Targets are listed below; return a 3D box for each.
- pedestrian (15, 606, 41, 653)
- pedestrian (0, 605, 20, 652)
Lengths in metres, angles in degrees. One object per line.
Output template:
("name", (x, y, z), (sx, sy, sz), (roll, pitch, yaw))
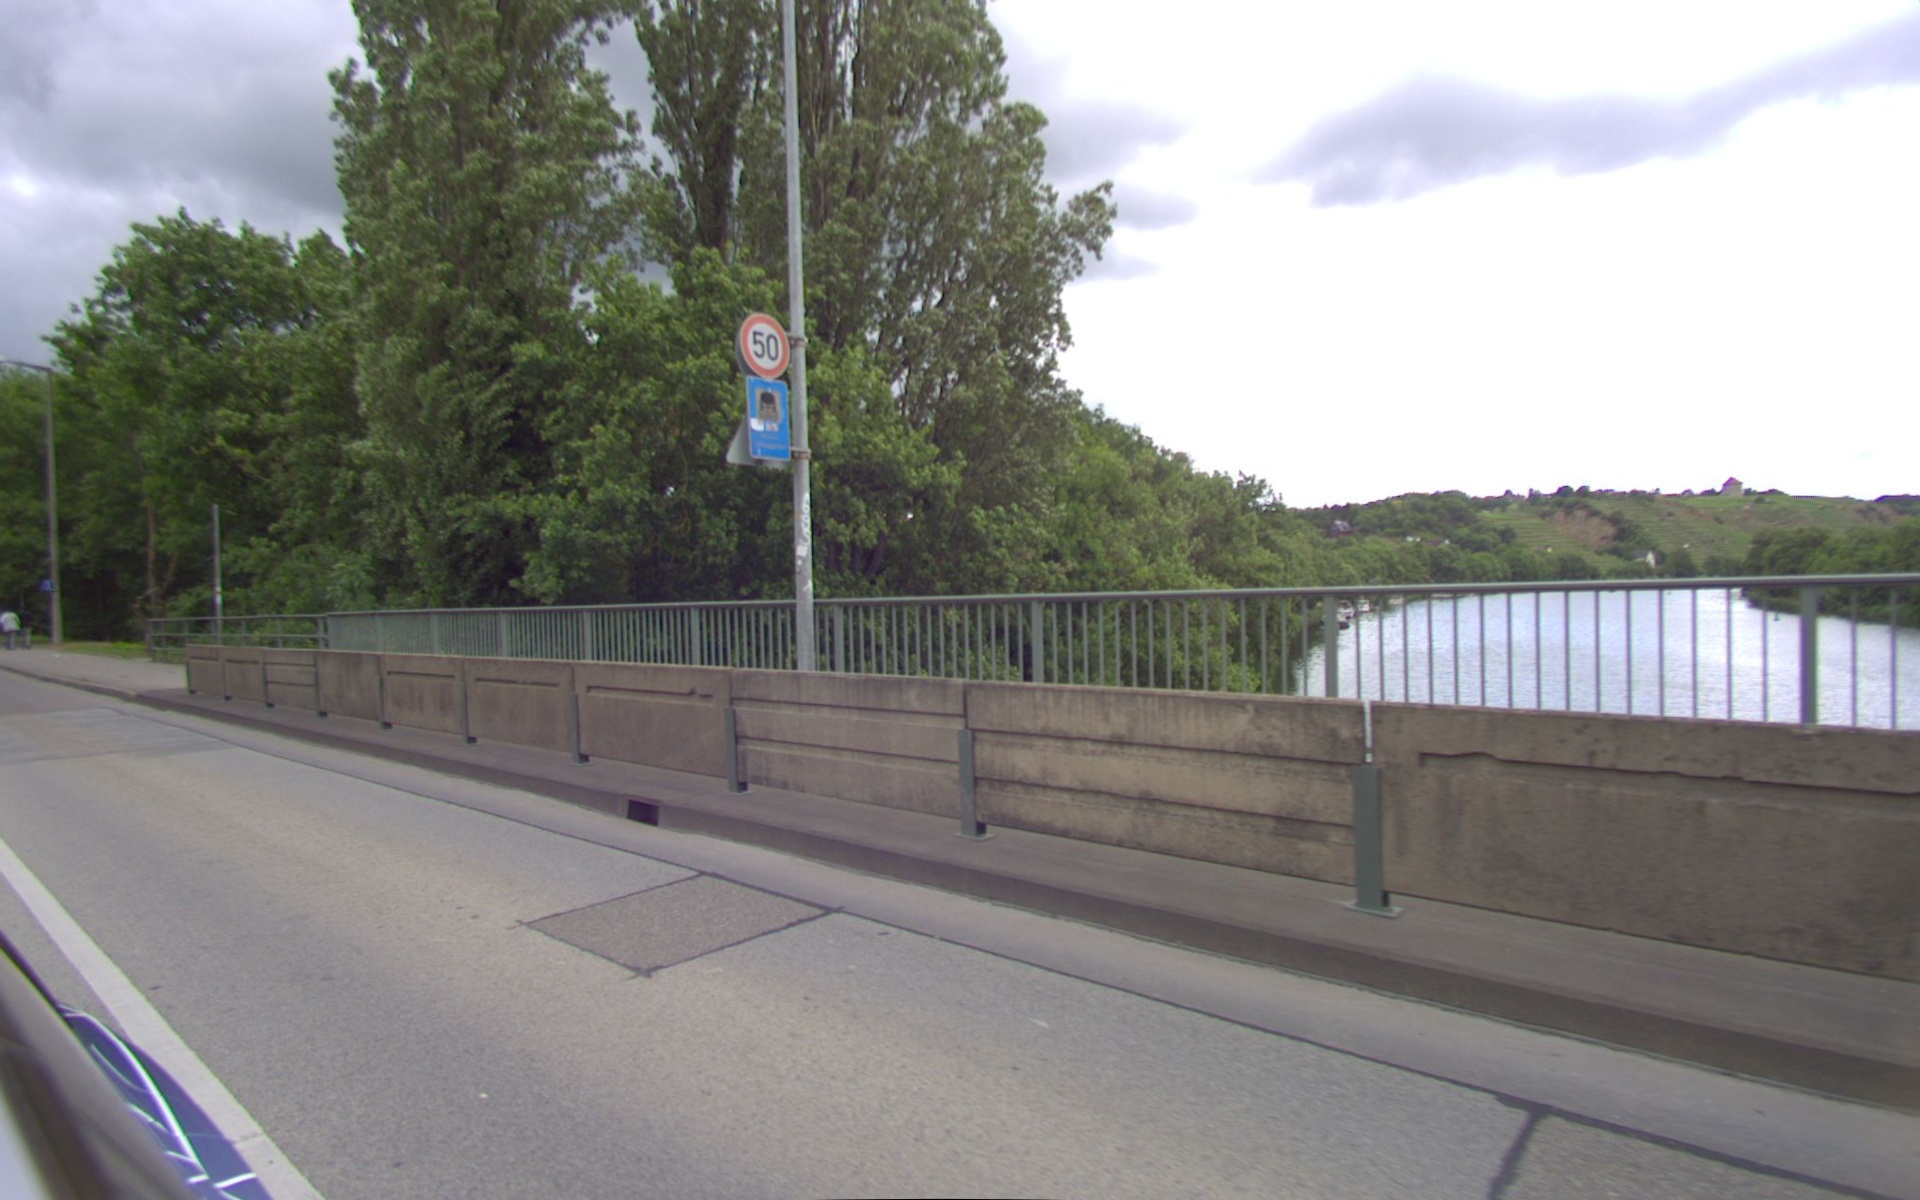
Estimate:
("pedestrian", (-37.458, 1.173, 40.657), (0.821, 1.816, 0.581), (-2, 2, 40))
("pedestrian", (-37.845, 1.133, 40.133), (0.857, 1.778, 0.546), (-2, 4, 40))
